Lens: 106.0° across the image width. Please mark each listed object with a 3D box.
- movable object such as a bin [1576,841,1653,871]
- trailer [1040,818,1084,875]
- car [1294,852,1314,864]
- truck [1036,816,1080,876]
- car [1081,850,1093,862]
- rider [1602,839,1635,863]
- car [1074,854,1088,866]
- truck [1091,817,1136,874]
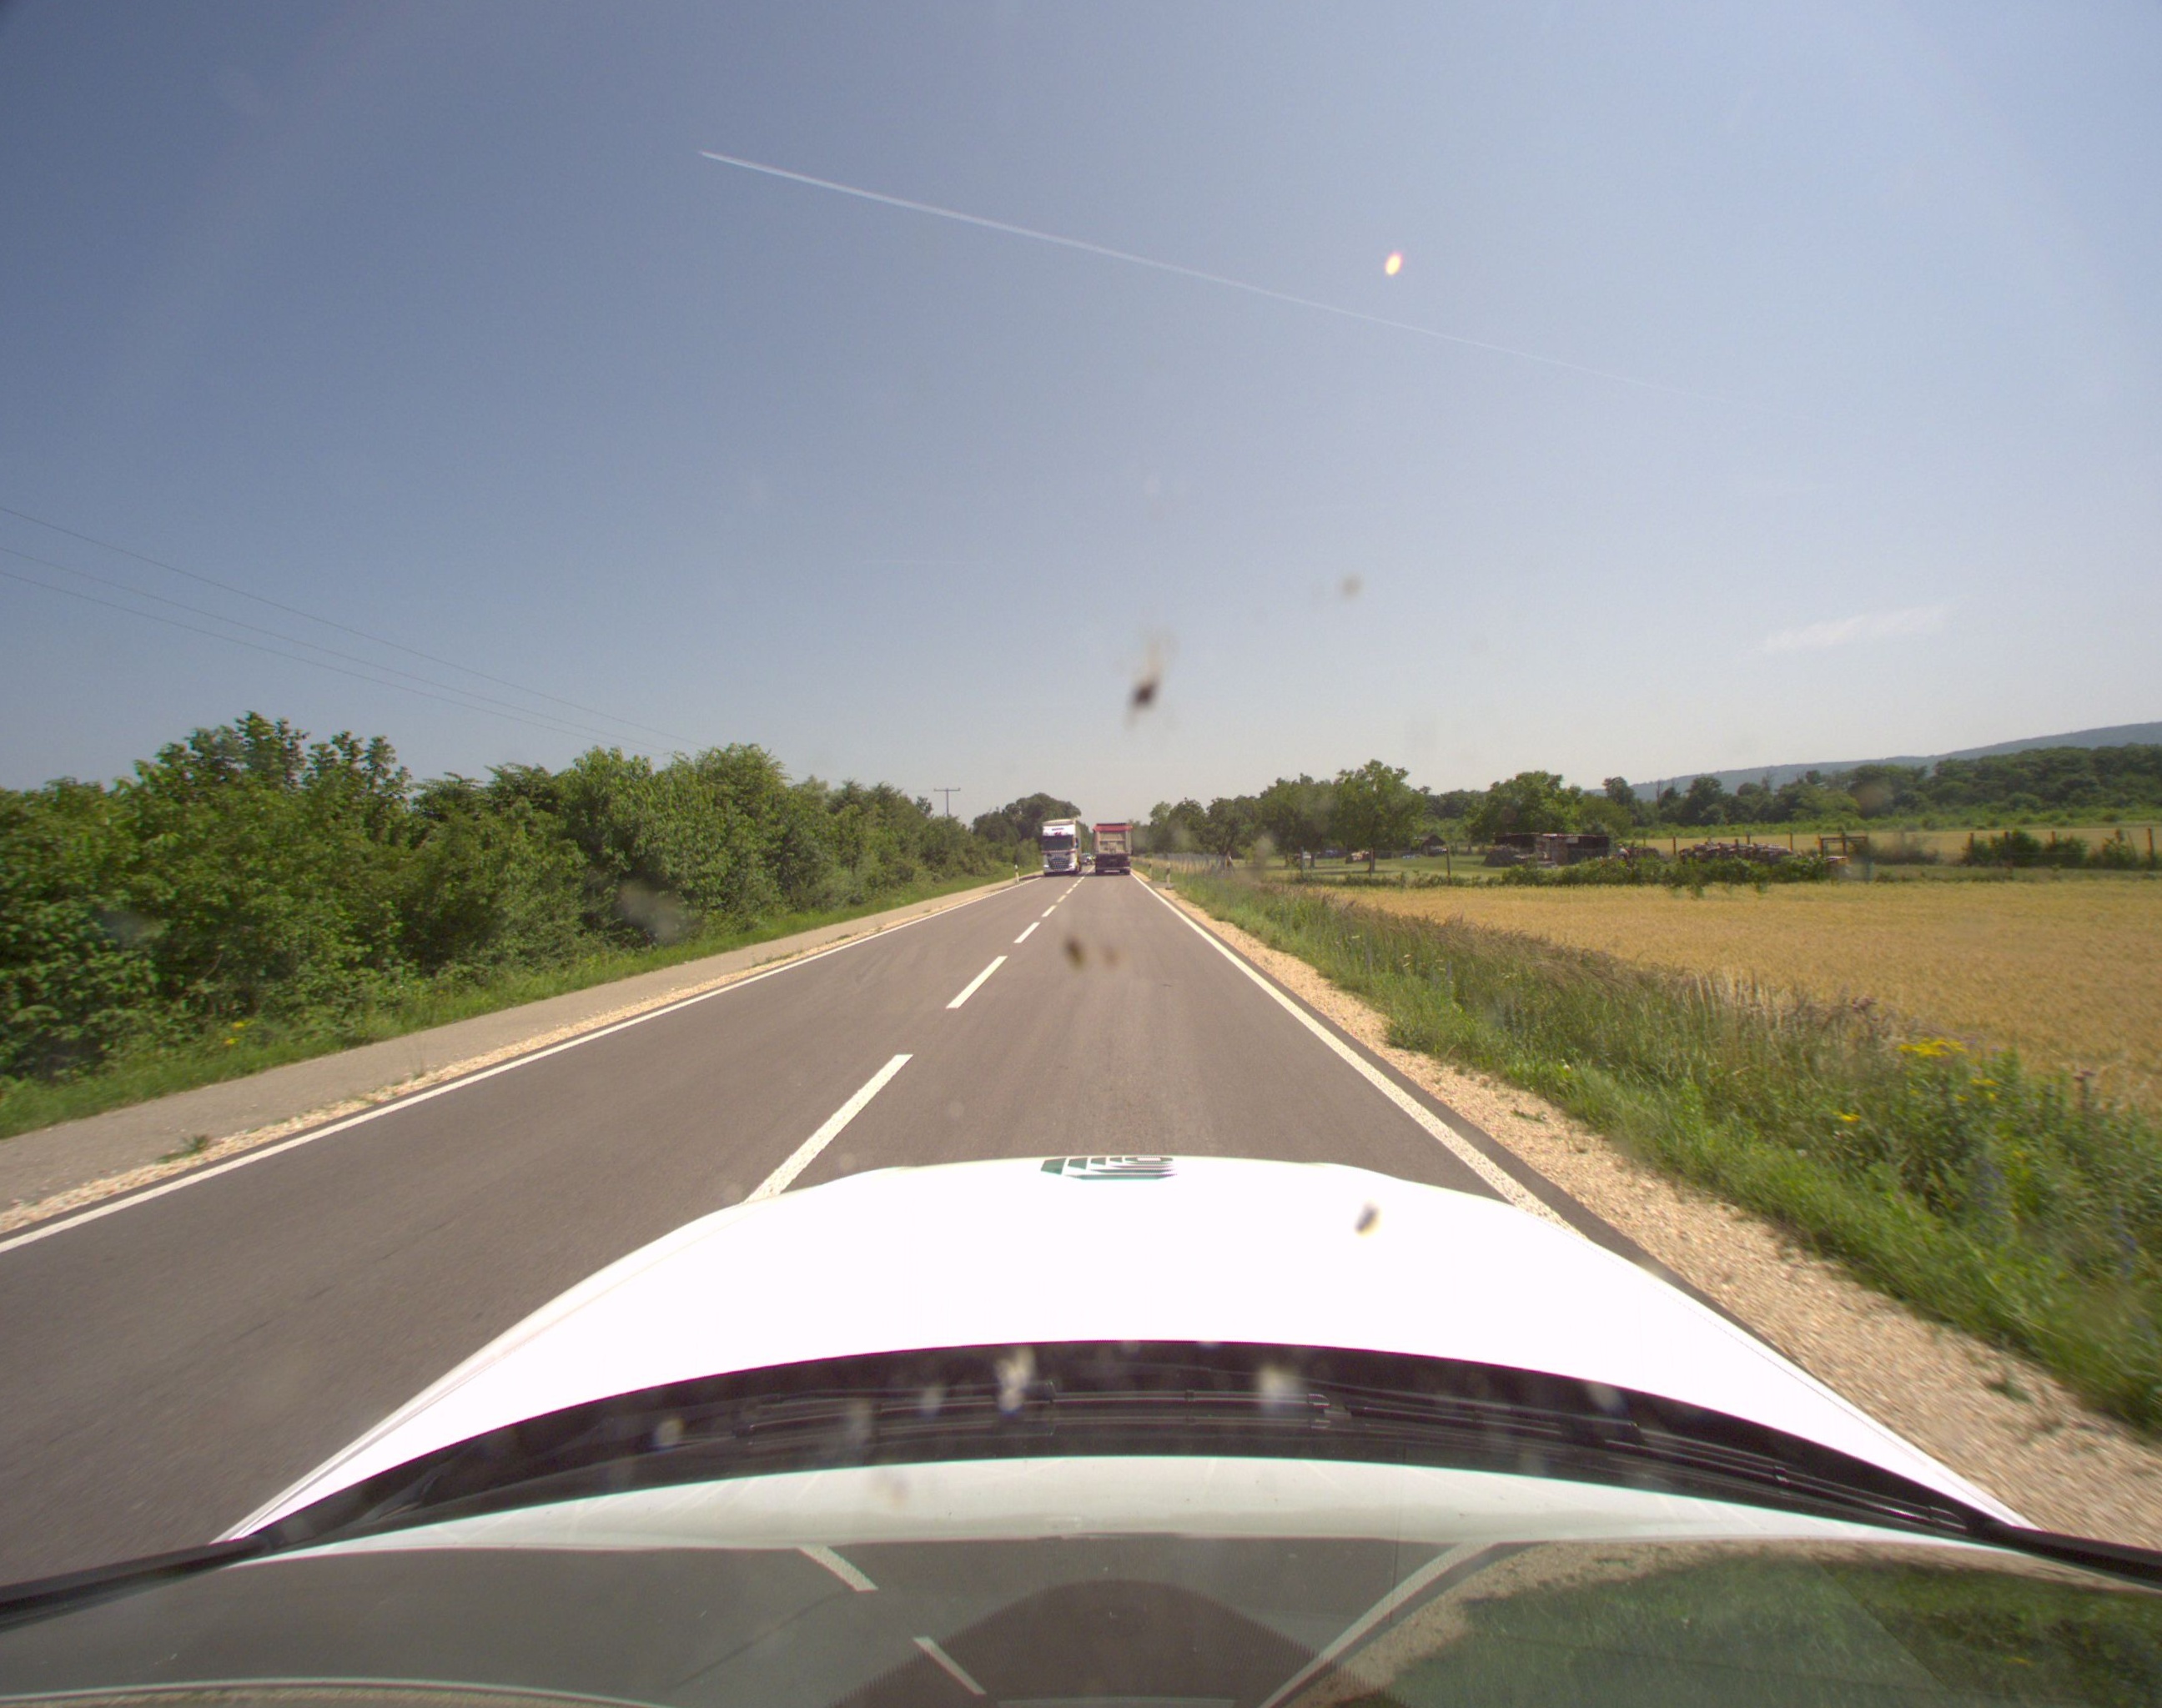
[{"bbox_3d":[28.275,0.097,43.272,1.567,1.496,3.655,-2,0,-3],"label":"movable object such as a bin"},{"bbox_3d":[-1.444,-0.595,69.787,2.706,4.265,13.816,-3,0,2],"label":"trailer"},{"bbox_3d":[30.768,0.543,112.396,1.591,1.486,3.420,-2,1,-6],"label":"car"},{"bbox_3d":[-1.689,-0.590,63.709,2.707,4.265,7.393,-3,0,2],"label":"truck"},{"bbox_3d":[0.937,0.320,127.684,1.752,1.606,4.483,-4,0,2],"label":"car"},{"bbox_3d":[28.221,-0.172,42.746,1.022,1.217,0.984,-1,0,-5],"label":"rider"},{"bbox_3d":[0.048,0.813,107.406,1.689,1.406,4.046,-4,0,0],"label":"car"},{"bbox_3d":[2.380,-0.542,61.144,2.998,3.874,12.213,0,0,2],"label":"truck"}]
